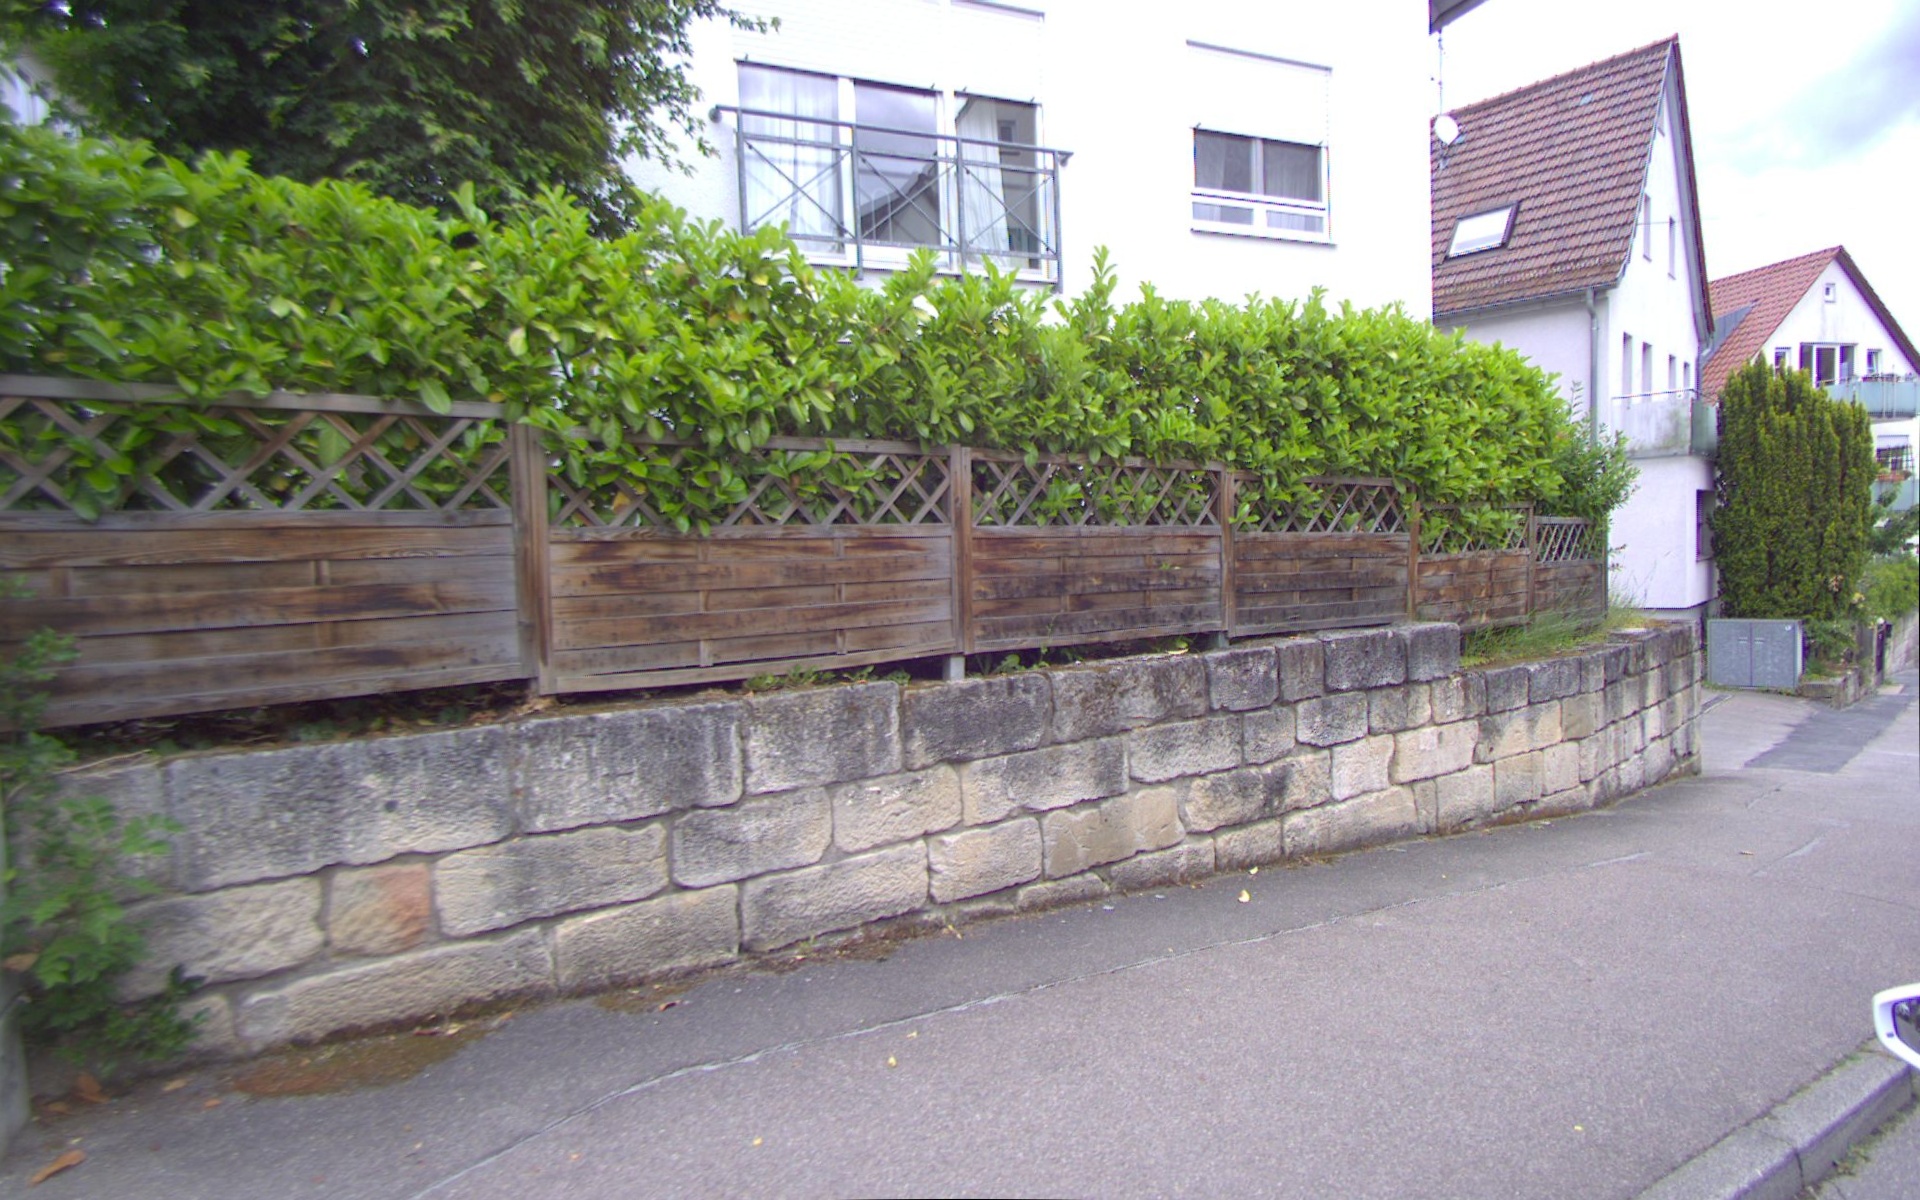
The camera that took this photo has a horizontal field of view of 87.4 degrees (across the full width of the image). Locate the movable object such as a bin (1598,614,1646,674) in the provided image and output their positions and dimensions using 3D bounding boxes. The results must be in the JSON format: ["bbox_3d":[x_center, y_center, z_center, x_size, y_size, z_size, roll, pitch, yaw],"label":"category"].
[{"bbox_3d":[11.570,0.764,17.561,0.428,0.915,0.507,-7,13,-42],"label":"movable object such as a bin"}]
